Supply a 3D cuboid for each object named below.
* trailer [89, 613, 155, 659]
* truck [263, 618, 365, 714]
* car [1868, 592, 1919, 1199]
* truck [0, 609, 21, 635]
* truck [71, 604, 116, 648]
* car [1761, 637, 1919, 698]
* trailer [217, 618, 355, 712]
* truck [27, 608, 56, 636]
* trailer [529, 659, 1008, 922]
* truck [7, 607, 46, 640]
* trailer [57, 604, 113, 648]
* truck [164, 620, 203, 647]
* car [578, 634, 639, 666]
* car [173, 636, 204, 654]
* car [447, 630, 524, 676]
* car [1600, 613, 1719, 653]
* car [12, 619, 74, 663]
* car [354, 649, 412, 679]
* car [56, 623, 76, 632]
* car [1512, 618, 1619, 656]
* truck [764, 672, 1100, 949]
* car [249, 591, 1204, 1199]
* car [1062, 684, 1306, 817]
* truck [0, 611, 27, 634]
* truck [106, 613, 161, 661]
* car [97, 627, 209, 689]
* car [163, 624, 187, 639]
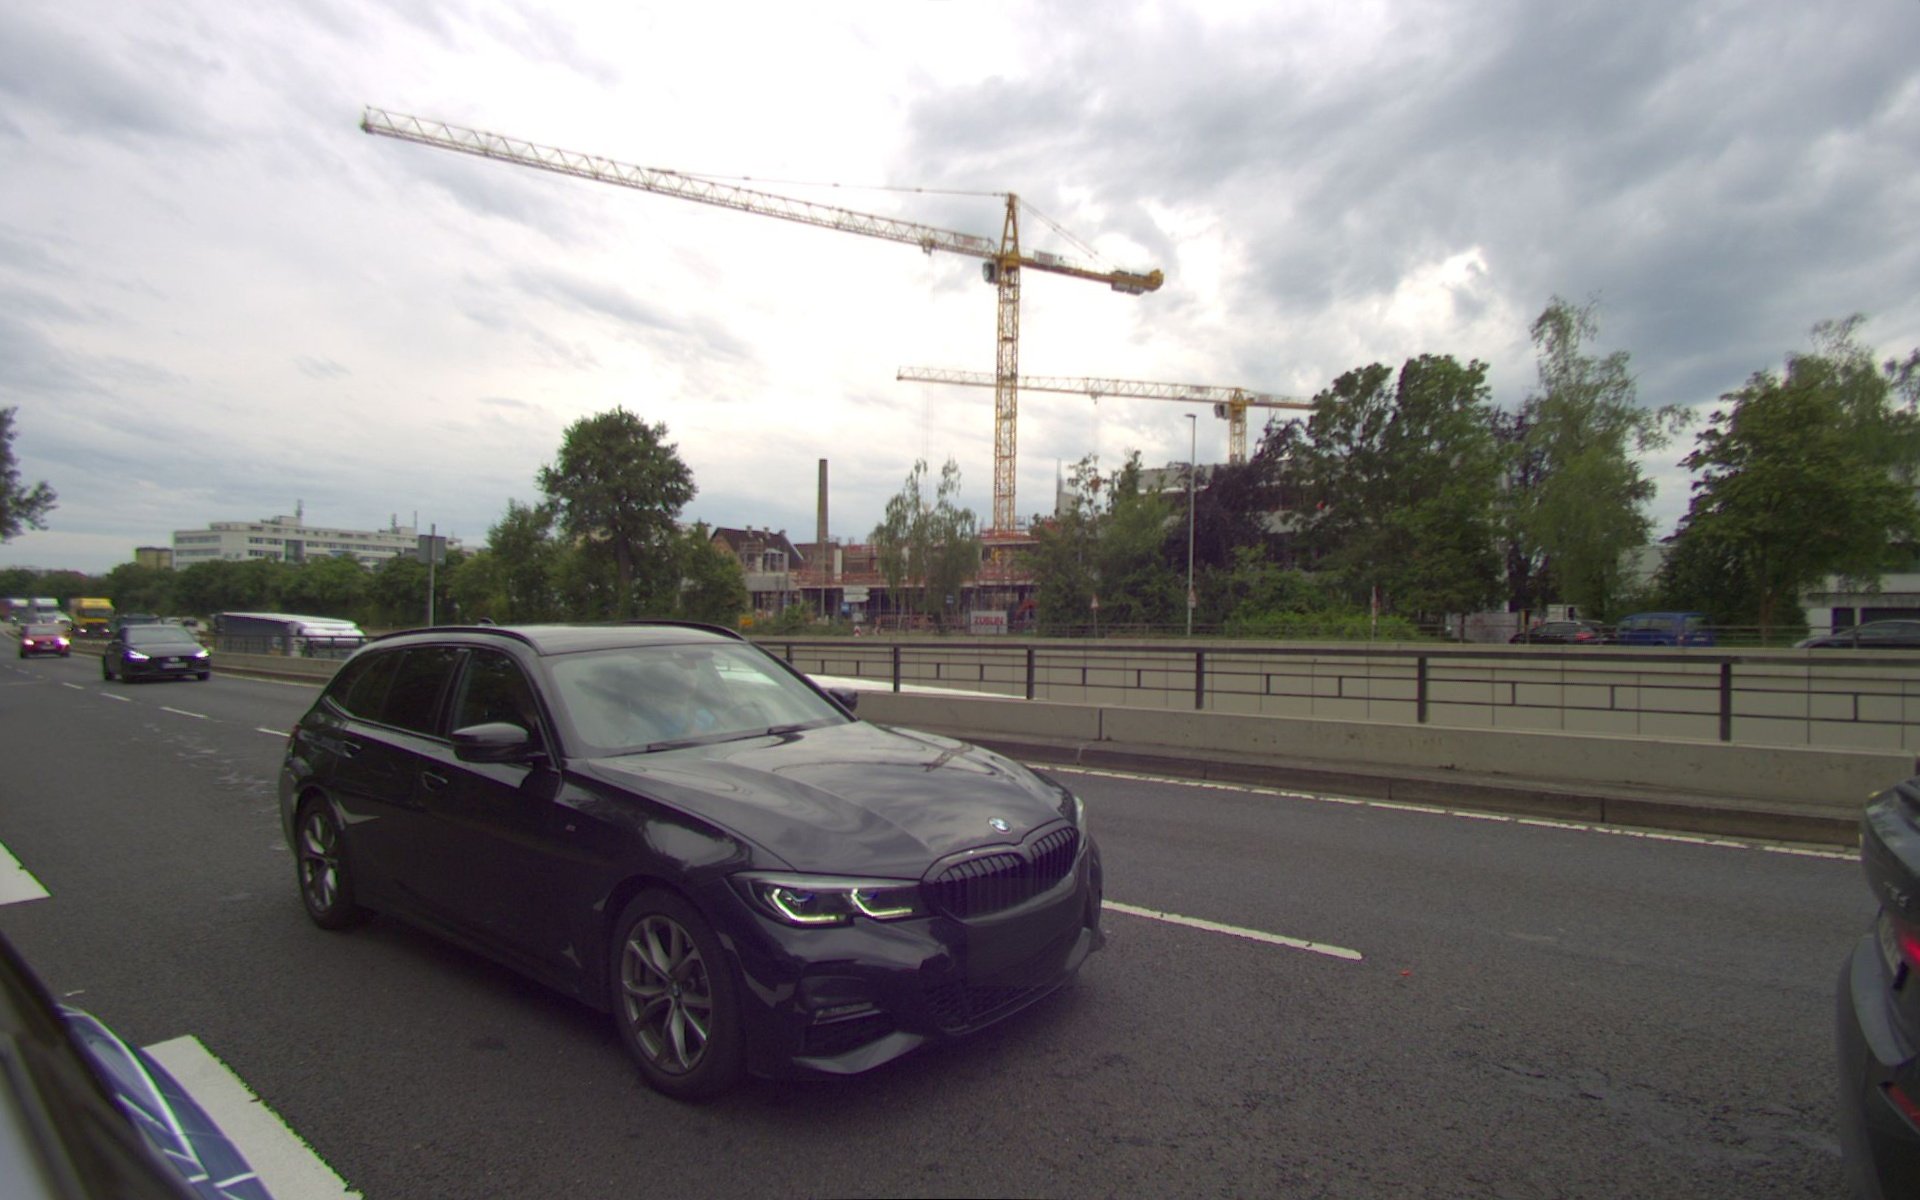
[{"bbox_3d":[-71.598,2.963,86.269,16.756,3.668,2.577,-1,-2,45],"label":"trailer"},{"bbox_3d":[-29.414,2.870,45.986,6.099,4.067,2.496,-1,-2,44],"label":"truck"},{"bbox_3d":[3.449,0.658,0.769,3.996,1.405,1.607,-1,-1,39],"label":"car"},{"bbox_3d":[-119.463,2.729,126.405,2.915,3.210,13.789,2,-2,-44],"label":"truck"},{"bbox_3d":[-88.168,2.648,102.935,6.521,4.377,2.853,-1,-2,44],"label":"truck"},{"bbox_3d":[26.185,1.924,29.498,4.352,1.638,1.864,-2,-2,41],"label":"car"},{"bbox_3d":[-33.639,2.953,50.076,14.787,4.067,2.496,-1,-2,44],"label":"trailer"},{"bbox_3d":[-138.520,3.267,152.535,2.914,4.067,13.791,2,-2,-43],"label":"truck"},{"bbox_3d":[-5.347,3.634,23.412,14.552,4.067,2.623,-1,-2,42],"label":"trailer"},{"bbox_3d":[-91.597,2.288,99.245,2.489,3.001,13.789,2,-2,-44],"label":"truck"},{"bbox_3d":[-94.955,2.787,109.641,19.930,4.387,2.858,-1,-2,45],"label":"trailer"},{"bbox_3d":[-123.063,5.278,160.262,13.784,4.067,2.916,-1,-2,45],"label":"truck"},{"bbox_3d":[-27.821,3.915,80.065,5.224,2.479,2.311,-2,-2,41],"label":"car"},{"bbox_3d":[-67.082,3.889,87.951,4.001,1.452,1.605,-1,-1,44],"label":"car"},{"bbox_3d":[-33.464,3.680,71.231,7.515,3.052,2.480,-2,-2,44],"label":"car"},{"bbox_3d":[27.726,1.276,40.265,1.603,1.452,4.006,-1,0,-7],"label":"car"},{"bbox_3d":[-42.448,1.954,46.817,4.579,1.810,1.744,-5,-7,44],"label":"car"},{"bbox_3d":[-41.839,4.601,73.330,5.483,2.029,1.972,-2,-2,41],"label":"car"},{"bbox_3d":[-149.120,4.590,168.810,3.998,1.564,1.973,-1,-1,41],"label":"car"},{"bbox_3d":[24.882,1.485,41.733,1.603,1.452,4.006,-1,0,-7],"label":"car"},{"bbox_3d":[-0.693,3.557,19.158,6.201,4.067,2.676,-1,-2,42],"label":"truck"},{"bbox_3d":[-1.374,0.783,4.475,4.456,1.437,1.731,-2,-2,39],"label":"car"},{"bbox_3d":[6.274,4.115,29.047,6.419,3.052,2.482,-2,-2,41],"label":"car"},{"bbox_3d":[-169.690,3.982,181.092,13.773,4.067,2.498,-1,-2,42],"label":"truck"},{"bbox_3d":[-66.152,2.885,80.920,6.670,3.663,2.609,-1,-2,44],"label":"truck"},{"bbox_3d":[-21.250,1.466,26.599,3.999,1.452,1.680,-1,-1,42],"label":"car"},{"bbox_3d":[-112.858,4.565,145.486,5.487,2.029,1.971,-2,-2,44],"label":"car"}]
